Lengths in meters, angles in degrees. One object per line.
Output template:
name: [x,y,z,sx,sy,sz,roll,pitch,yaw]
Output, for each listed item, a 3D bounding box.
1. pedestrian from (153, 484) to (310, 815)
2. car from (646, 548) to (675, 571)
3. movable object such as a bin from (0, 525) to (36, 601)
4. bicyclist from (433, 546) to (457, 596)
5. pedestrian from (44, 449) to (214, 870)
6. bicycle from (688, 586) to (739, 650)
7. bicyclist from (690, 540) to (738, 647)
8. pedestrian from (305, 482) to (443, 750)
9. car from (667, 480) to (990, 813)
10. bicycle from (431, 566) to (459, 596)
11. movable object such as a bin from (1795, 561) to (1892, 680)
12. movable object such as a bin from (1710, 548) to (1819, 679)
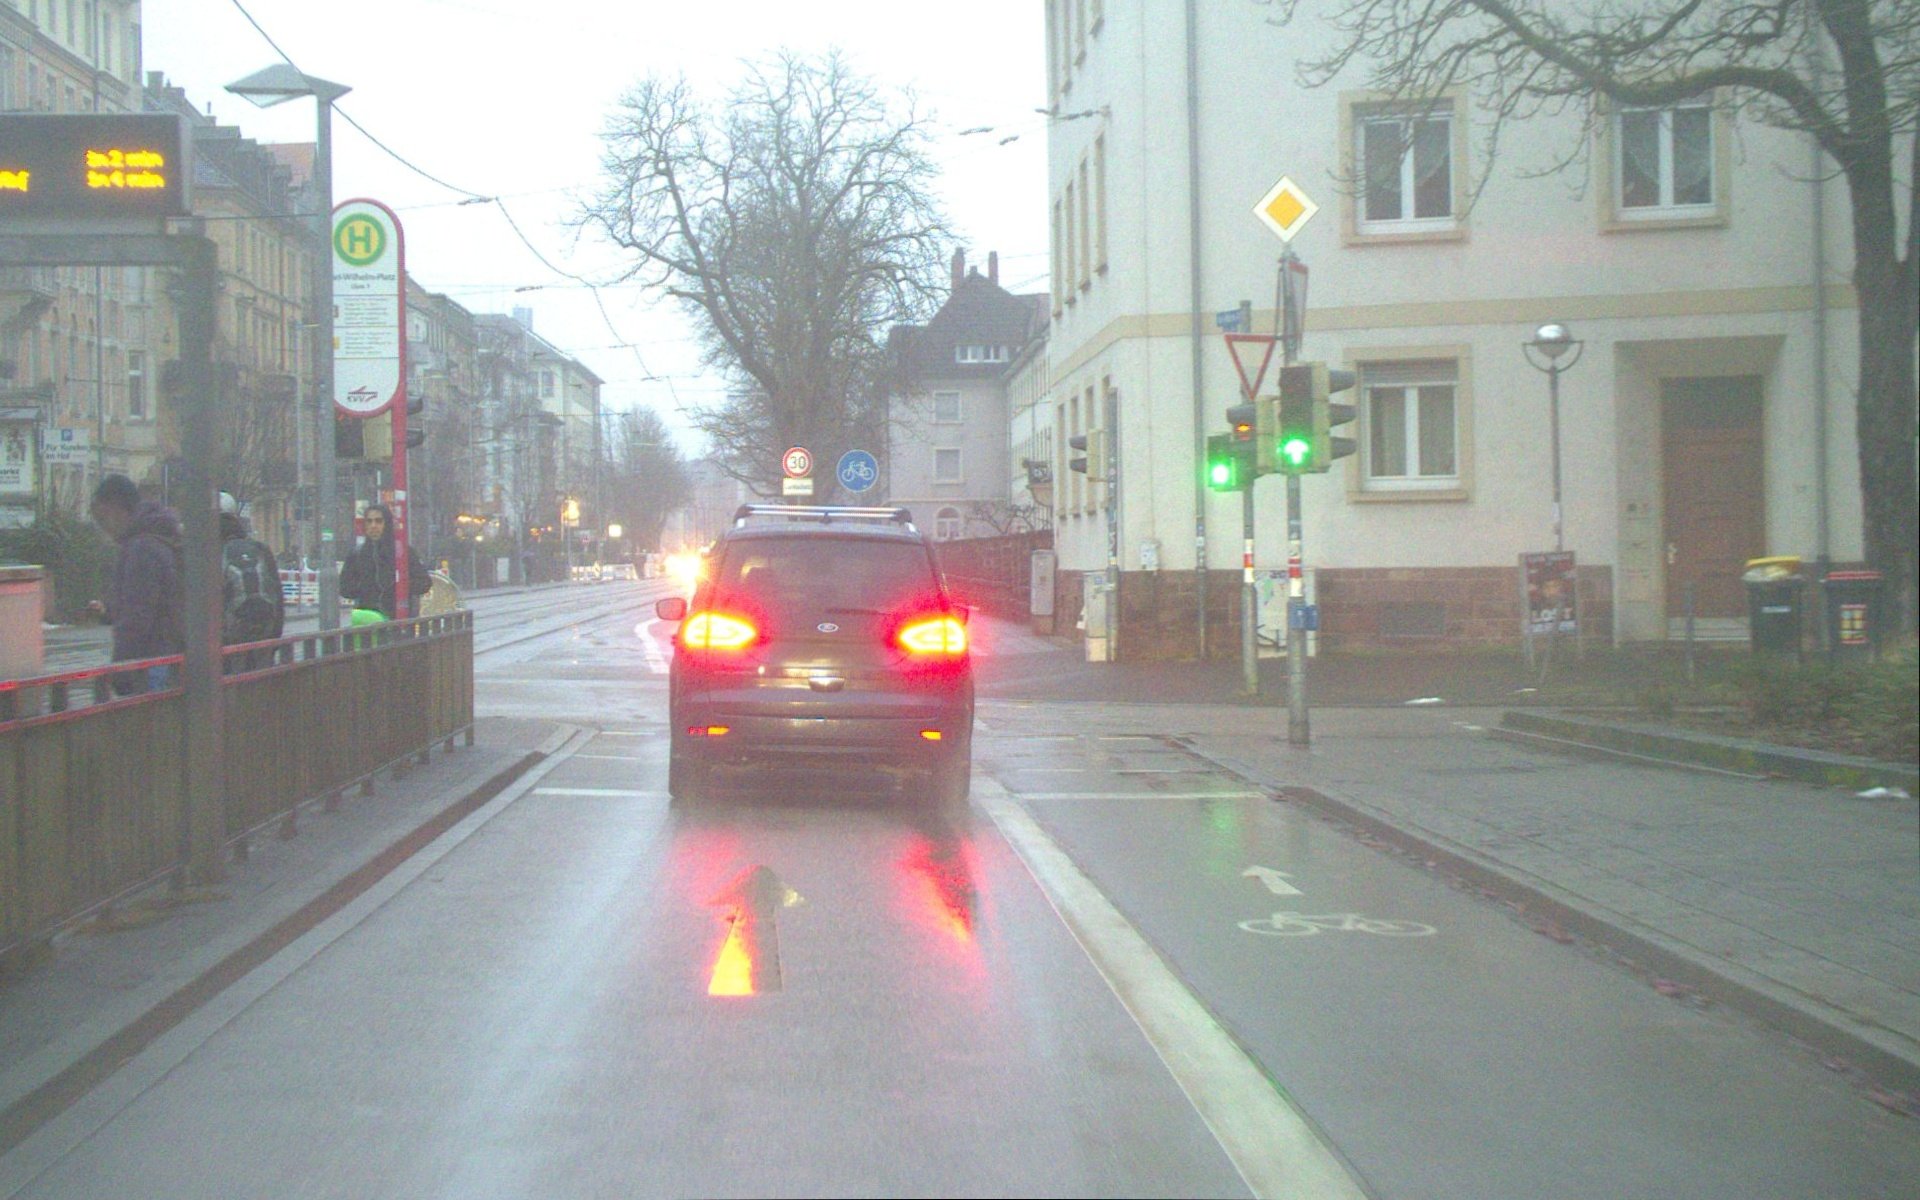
pedestrian: [-3.846,0.255,18.182,0.657,1.702,0.571,2,1,-1]
car: [-22.197,-3.014,254.808,1.923,1.714,4.000,-1,1,-2]
movable object such as a bin: [-20.244,-0.783,72.235,1.244,1.580,1.307,0,1,3]
bicyclist: [-16.740,-0.939,111.719,0.683,1.610,0.766,0,1,-1]
pedestrian: [-3.658,0.255,15.160,0.557,1.801,0.571,2,1,-1]
bicycle: [-3.992,0.290,55.802,0.731,1.003,1.764,0,1,-1]
bicyclist: [-3.986,-0.110,55.809,0.730,1.730,0.766,0,1,-1]
pedestrian: [-4.287,0.111,25.161,0.687,1.911,0.717,2,1,15]
car: [-0.896,0.242,21.943,1.801,1.864,4.019,2,1,-4]
bicycle: [-16.723,-0.627,111.671,0.678,0.969,1.933,0,1,-1]
movable object such as a bin: [8.556,0.194,33.304,0.700,1.116,0.537,3,1,40]
movable object such as a bin: [7.914,0.131,33.831,0.853,1.247,0.521,3,1,40]
